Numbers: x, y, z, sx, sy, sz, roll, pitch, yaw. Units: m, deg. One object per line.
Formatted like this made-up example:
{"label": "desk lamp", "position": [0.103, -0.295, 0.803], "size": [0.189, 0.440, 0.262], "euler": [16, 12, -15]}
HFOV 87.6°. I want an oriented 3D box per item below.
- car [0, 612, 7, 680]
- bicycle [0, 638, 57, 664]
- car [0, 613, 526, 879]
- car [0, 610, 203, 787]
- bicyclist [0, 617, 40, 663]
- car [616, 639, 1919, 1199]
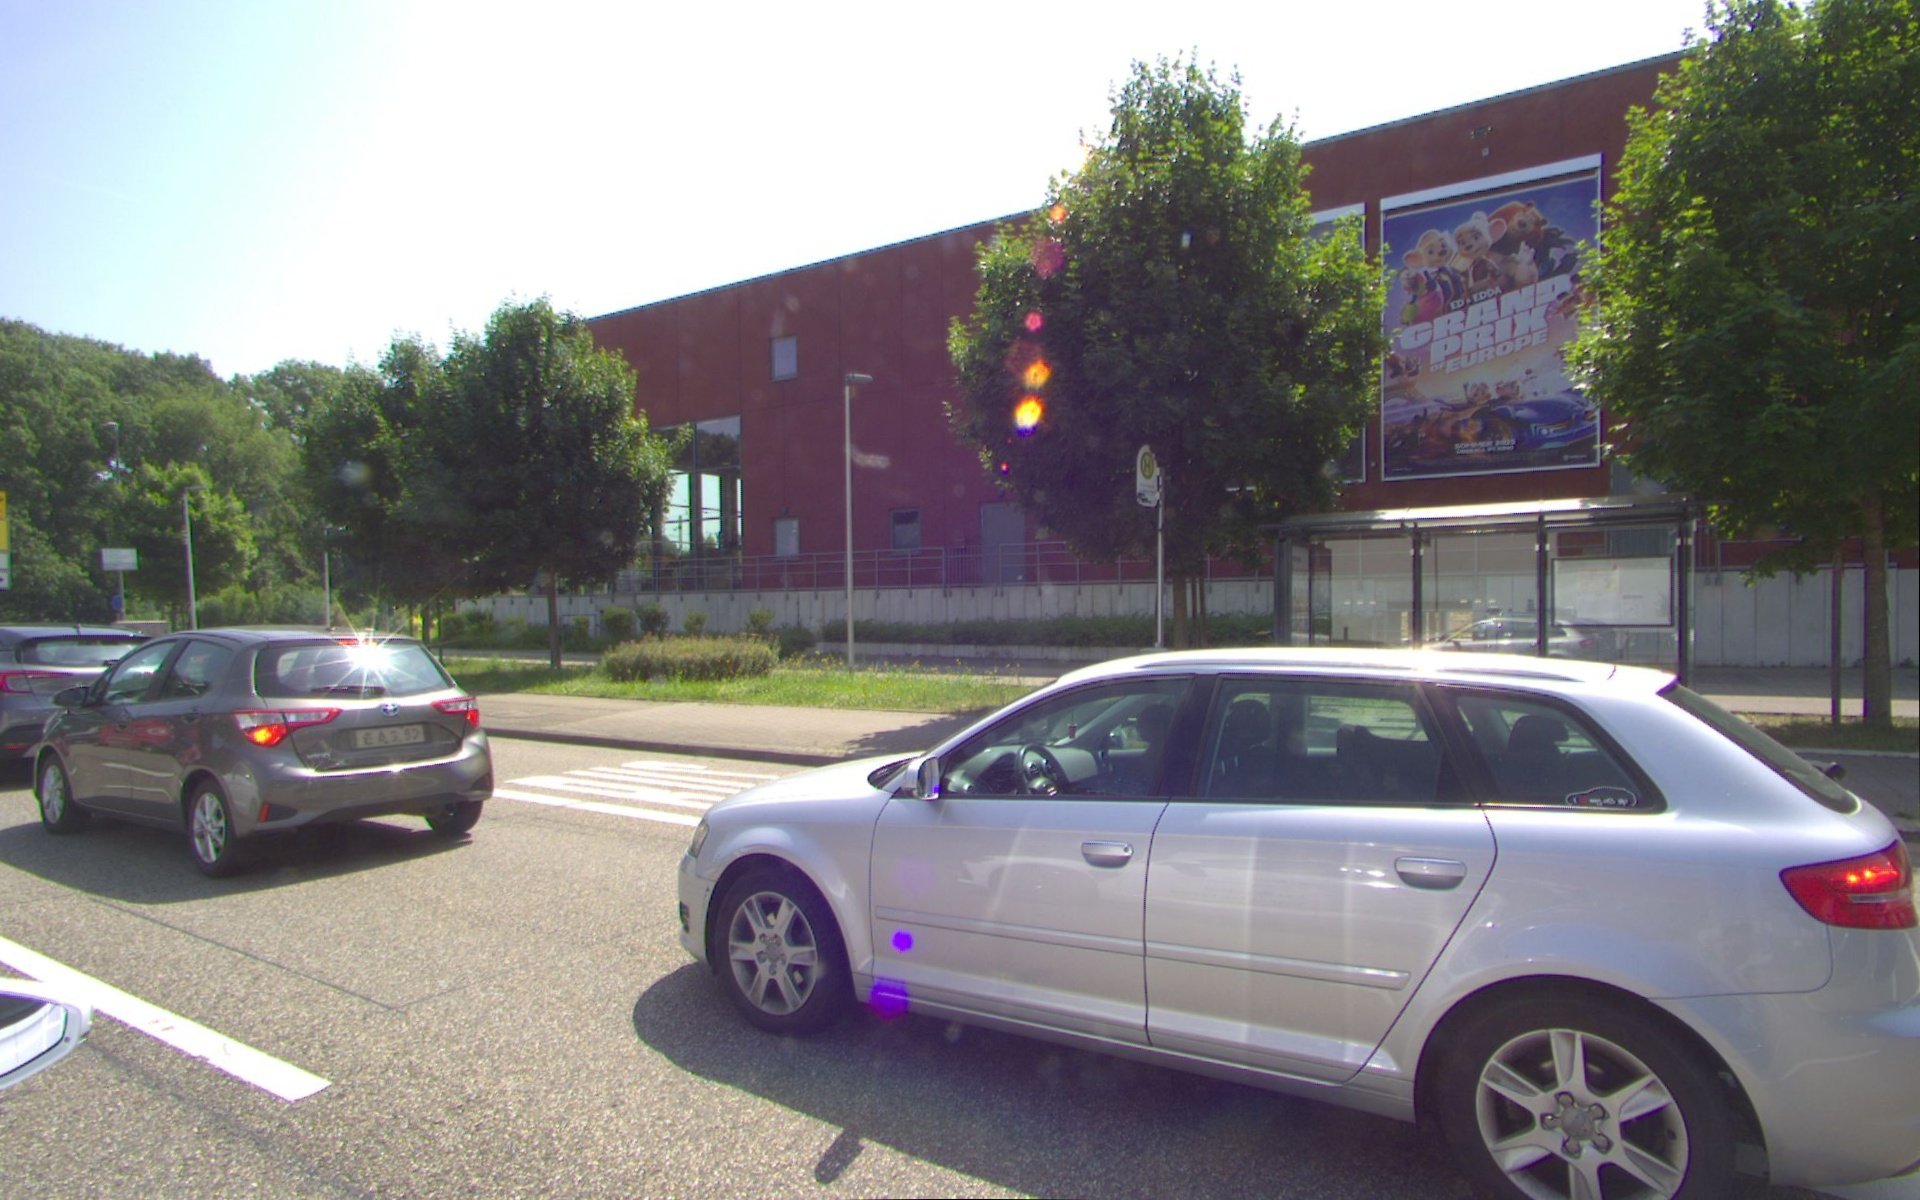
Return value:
{"label": "car", "position": [-24.399, 1.086, 23.666], "size": [4.031, 1.566, 1.709], "euler": [-1, -1, 31]}
{"label": "bicycle", "position": [-30.599, 1.649, 32.512], "size": [0.590, 0.776, 1.822], "euler": [-1, 0, 22]}
{"label": "car", "position": [-5.284, 0.902, 7.443], "size": [4.031, 1.496, 1.711], "euler": [-1, -4, 31]}
{"label": "car", "position": [-10.117, 0.933, 10.827], "size": [4.031, 1.614, 1.709], "euler": [-1, -1, 31]}
{"label": "bicyclist", "position": [-30.589, 1.298, 32.545], "size": [0.589, 1.458, 0.827], "euler": [0, 1, 21]}
{"label": "car", "position": [0.785, 0.853, 3.725], "size": [4.031, 1.379, 1.710], "euler": [-1, -2, 31]}
